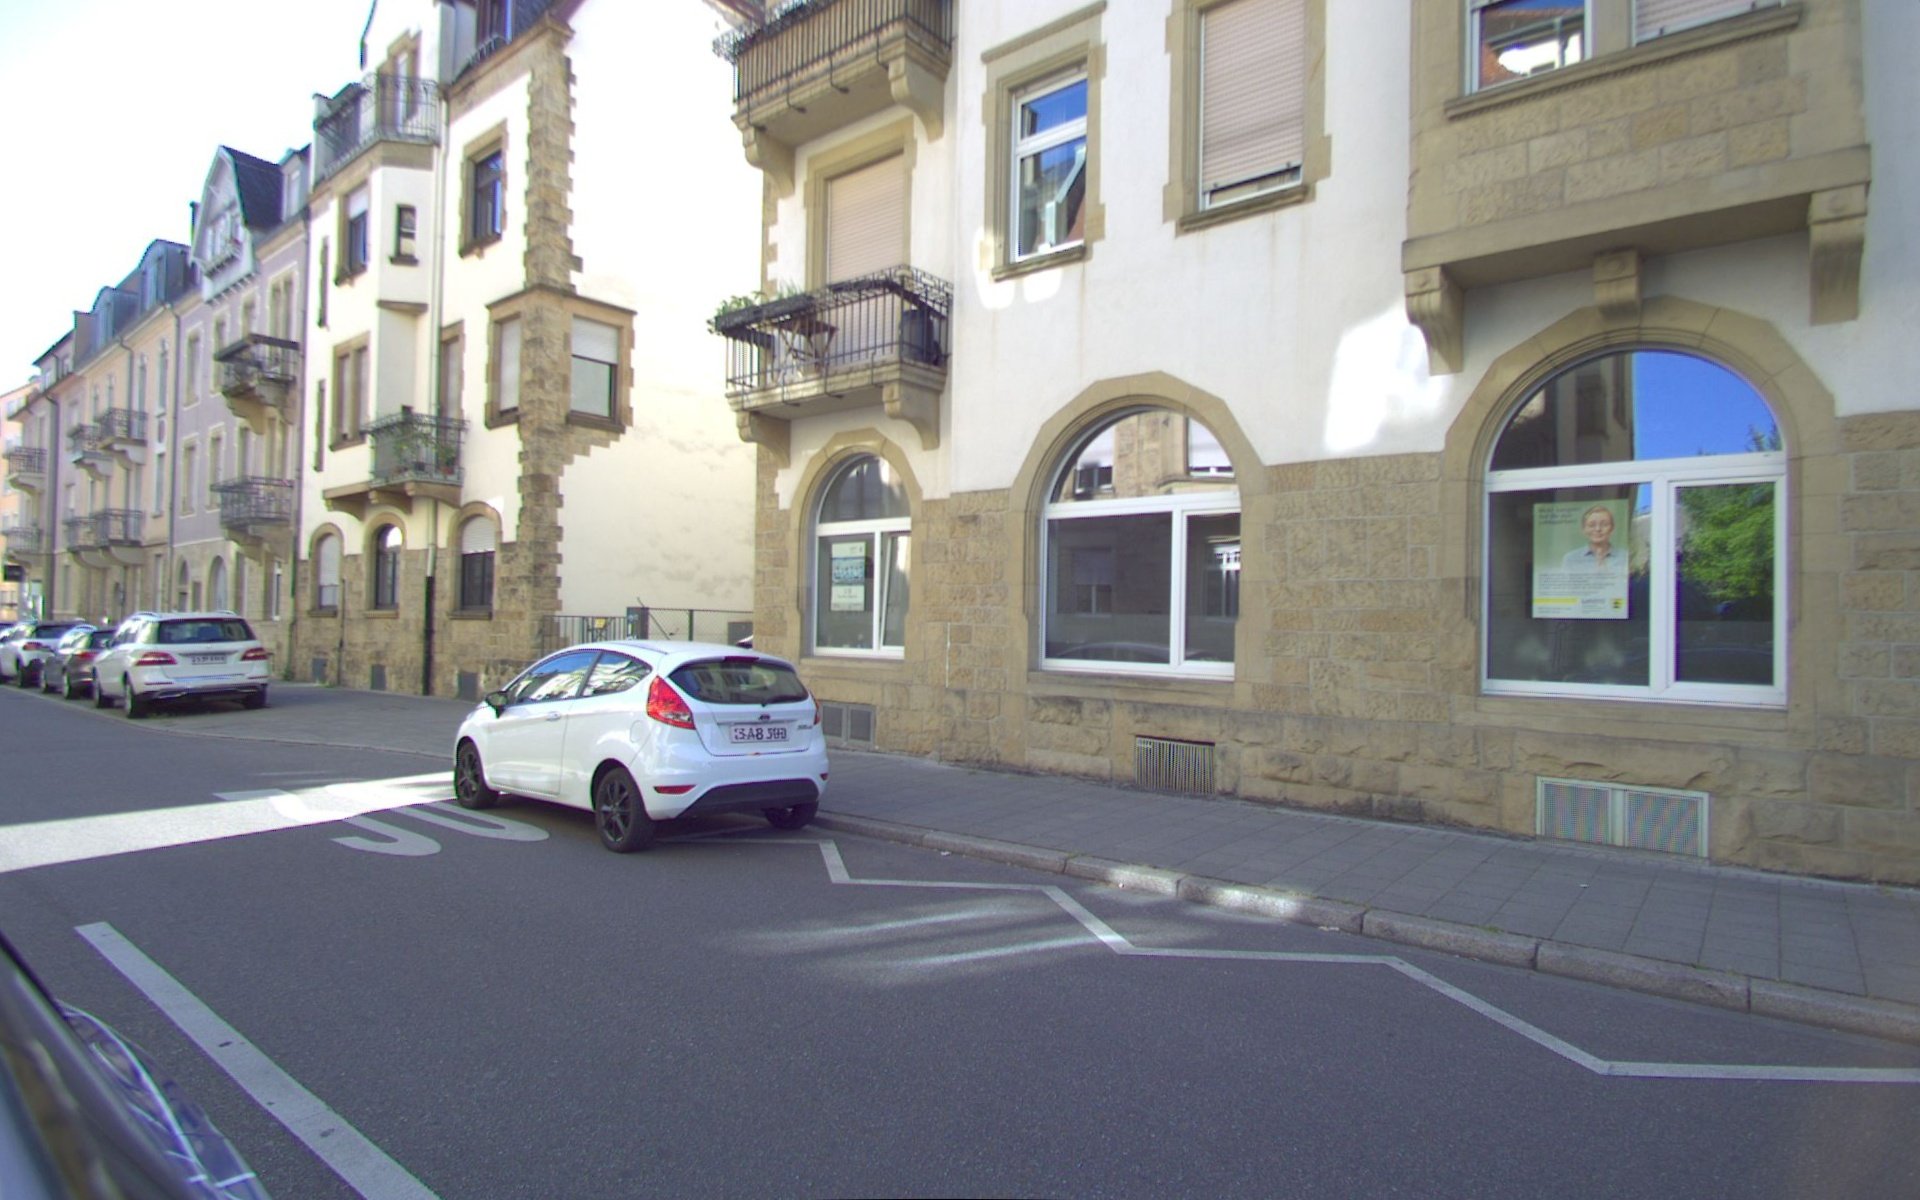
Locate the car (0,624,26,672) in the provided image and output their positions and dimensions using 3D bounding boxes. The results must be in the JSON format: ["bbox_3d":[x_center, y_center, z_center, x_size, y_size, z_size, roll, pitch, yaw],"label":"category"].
[{"bbox_3d":[-33.158,1.602,34.234,4.319,1.520,1.866,-1,0,41],"label":"car"}]

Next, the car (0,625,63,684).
[{"bbox_3d":[-27.161,1.513,28.875,4.317,1.511,1.833,-1,0,41],"label":"car"}]

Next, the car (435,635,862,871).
[{"bbox_3d":[-2.642,1.044,8.183,3.642,1.469,1.634,-2,-5,42],"label":"car"}]

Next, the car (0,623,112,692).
[{"bbox_3d":[-22.953,1.379,25.436,4.319,1.520,1.866,-1,0,41],"label":"car"}]

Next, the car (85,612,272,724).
[{"bbox_3d":[-13.981,1.097,18.022,4.209,1.740,1.866,-1,0,41],"label":"car"}]

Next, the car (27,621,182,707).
[{"bbox_3d":[-18.449,1.287,21.755,4.319,1.519,1.866,-1,2,41],"label":"car"}]
